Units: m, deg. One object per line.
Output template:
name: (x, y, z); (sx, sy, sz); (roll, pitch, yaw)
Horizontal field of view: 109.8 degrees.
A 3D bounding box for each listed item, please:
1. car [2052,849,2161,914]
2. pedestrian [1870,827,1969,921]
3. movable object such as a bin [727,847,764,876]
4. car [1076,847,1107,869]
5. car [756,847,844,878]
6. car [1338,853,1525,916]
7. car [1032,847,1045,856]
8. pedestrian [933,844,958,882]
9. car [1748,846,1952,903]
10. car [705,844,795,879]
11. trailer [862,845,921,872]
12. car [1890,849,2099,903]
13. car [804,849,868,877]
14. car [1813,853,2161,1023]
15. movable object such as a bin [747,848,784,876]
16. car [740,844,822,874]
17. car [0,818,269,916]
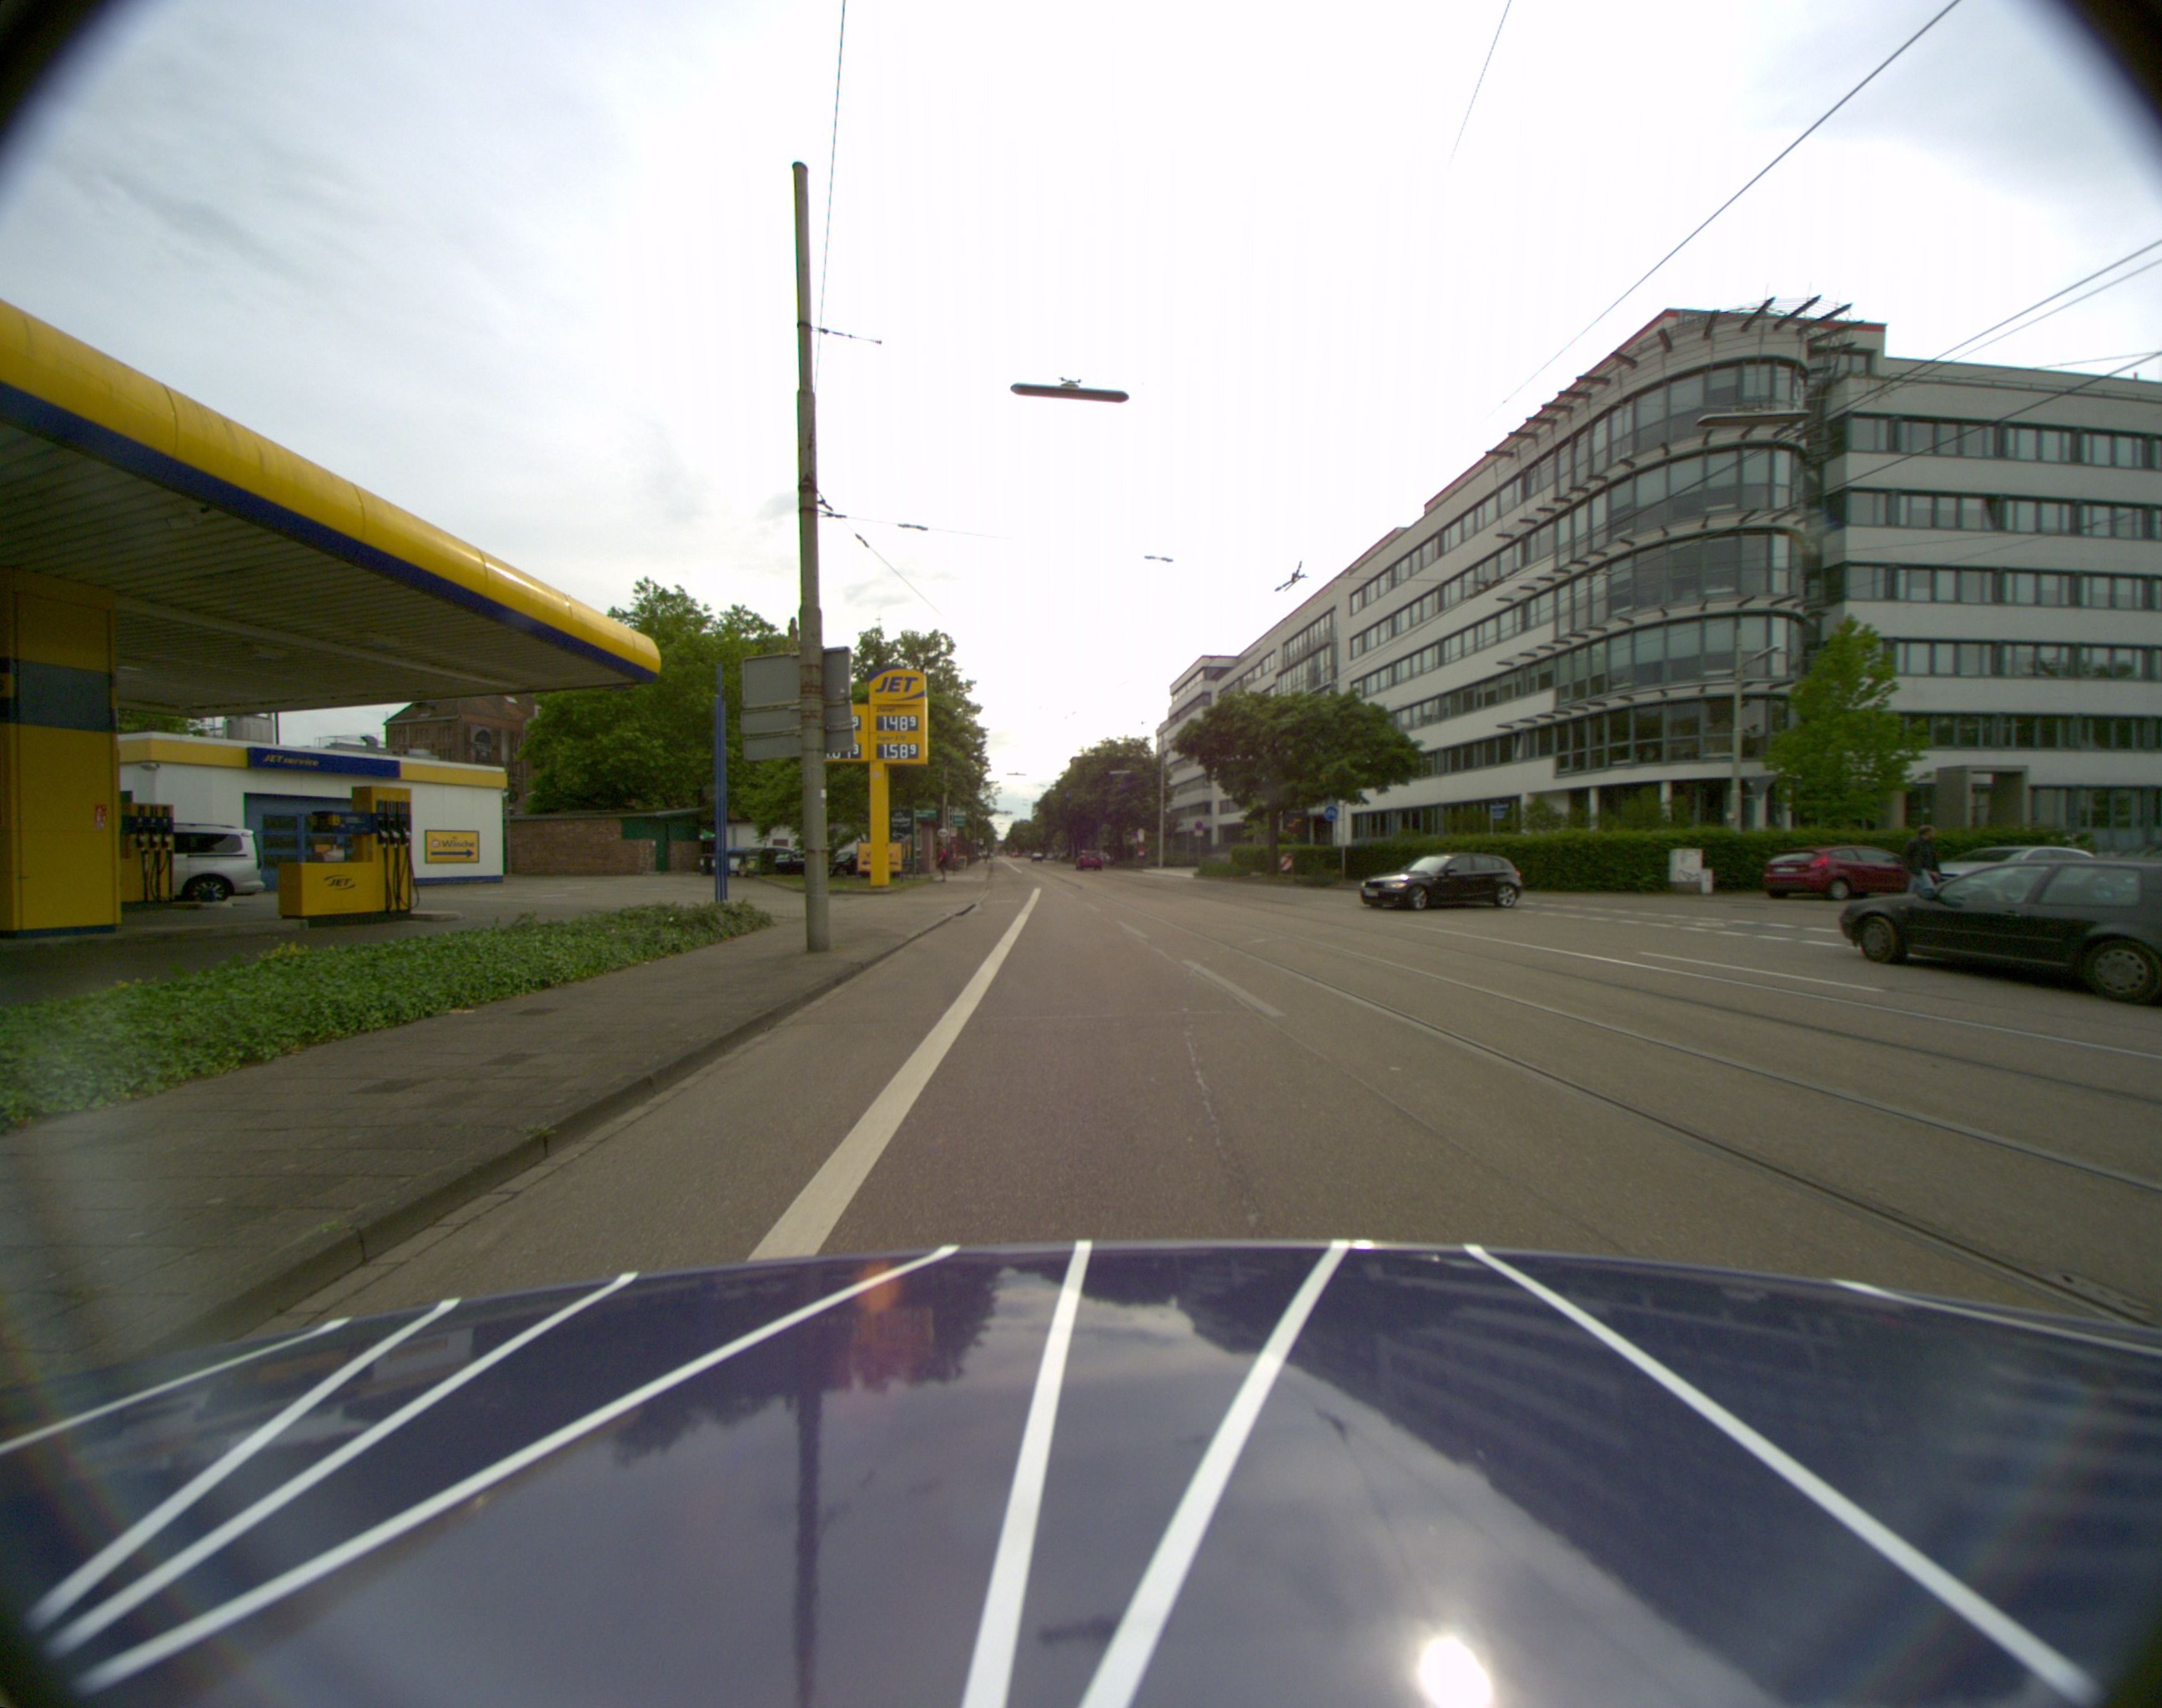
car: (26.119, 0.615, 18.026); (3.985, 1.443, 1.815); (0, 1, -3)
pedestrian: (16.756, 0.379, 15.213); (0.806, 1.815, 1.059); (-1, 1, -2)
movable object such as a bin: (-16.202, 0.374, 36.665); (1.118, 1.351, 1.162); (-1, 1, 29)
car: (0.822, 0.307, 63.546); (1.848, 1.714, 4.403); (0, 1, -9)
car: (-14.718, 0.415, 40.011); (1.821, 1.509, 4.008); (-1, 1, 35)
car: (8.842, 0.715, 19.254); (4.115, 1.361, 1.785); (-1, 1, -14)
car: (-7.642, -0.389, 136.040); (1.802, 1.537, 4.476); (-1, 1, -8)
pedestrian: (-6.559, 0.431, 36.723); (0.871, 1.738, 0.848); (2, 1, -31)
car: (20.775, 0.542, 20.624); (4.018, 1.413, 1.725); (-1, -1, -5)
car: (-17.461, 0.363, 40.269); (1.807, 1.686, 4.033); (-1, 1, 31)
trailer: (-11.703, 0.253, 47.004); (3.292, 1.523, 1.772); (1, 3, -5)
car: (25.161, 0.572, 20.995); (4.048, 1.341, 1.778); (-1, 1, -7)
car: (-12.305, 0.422, 38.463); (1.999, 1.281, 3.999); (-1, 1, -2)
car: (10.852, 0.781, 8.361); (1.794, 1.521, 4.142); (2, 1, 5)
movable object such as a bin: (-15.024, 0.383, 36.203); (1.118, 1.312, 1.162); (-1, 1, 29)
car: (-17.467, 0.268, 44.358); (3.999, 1.657, 1.999); (-1, 1, -5)
car: (-20.584, 0.241, 15.876); (1.982, 1.832, 4.537); (2, 0, 27)
